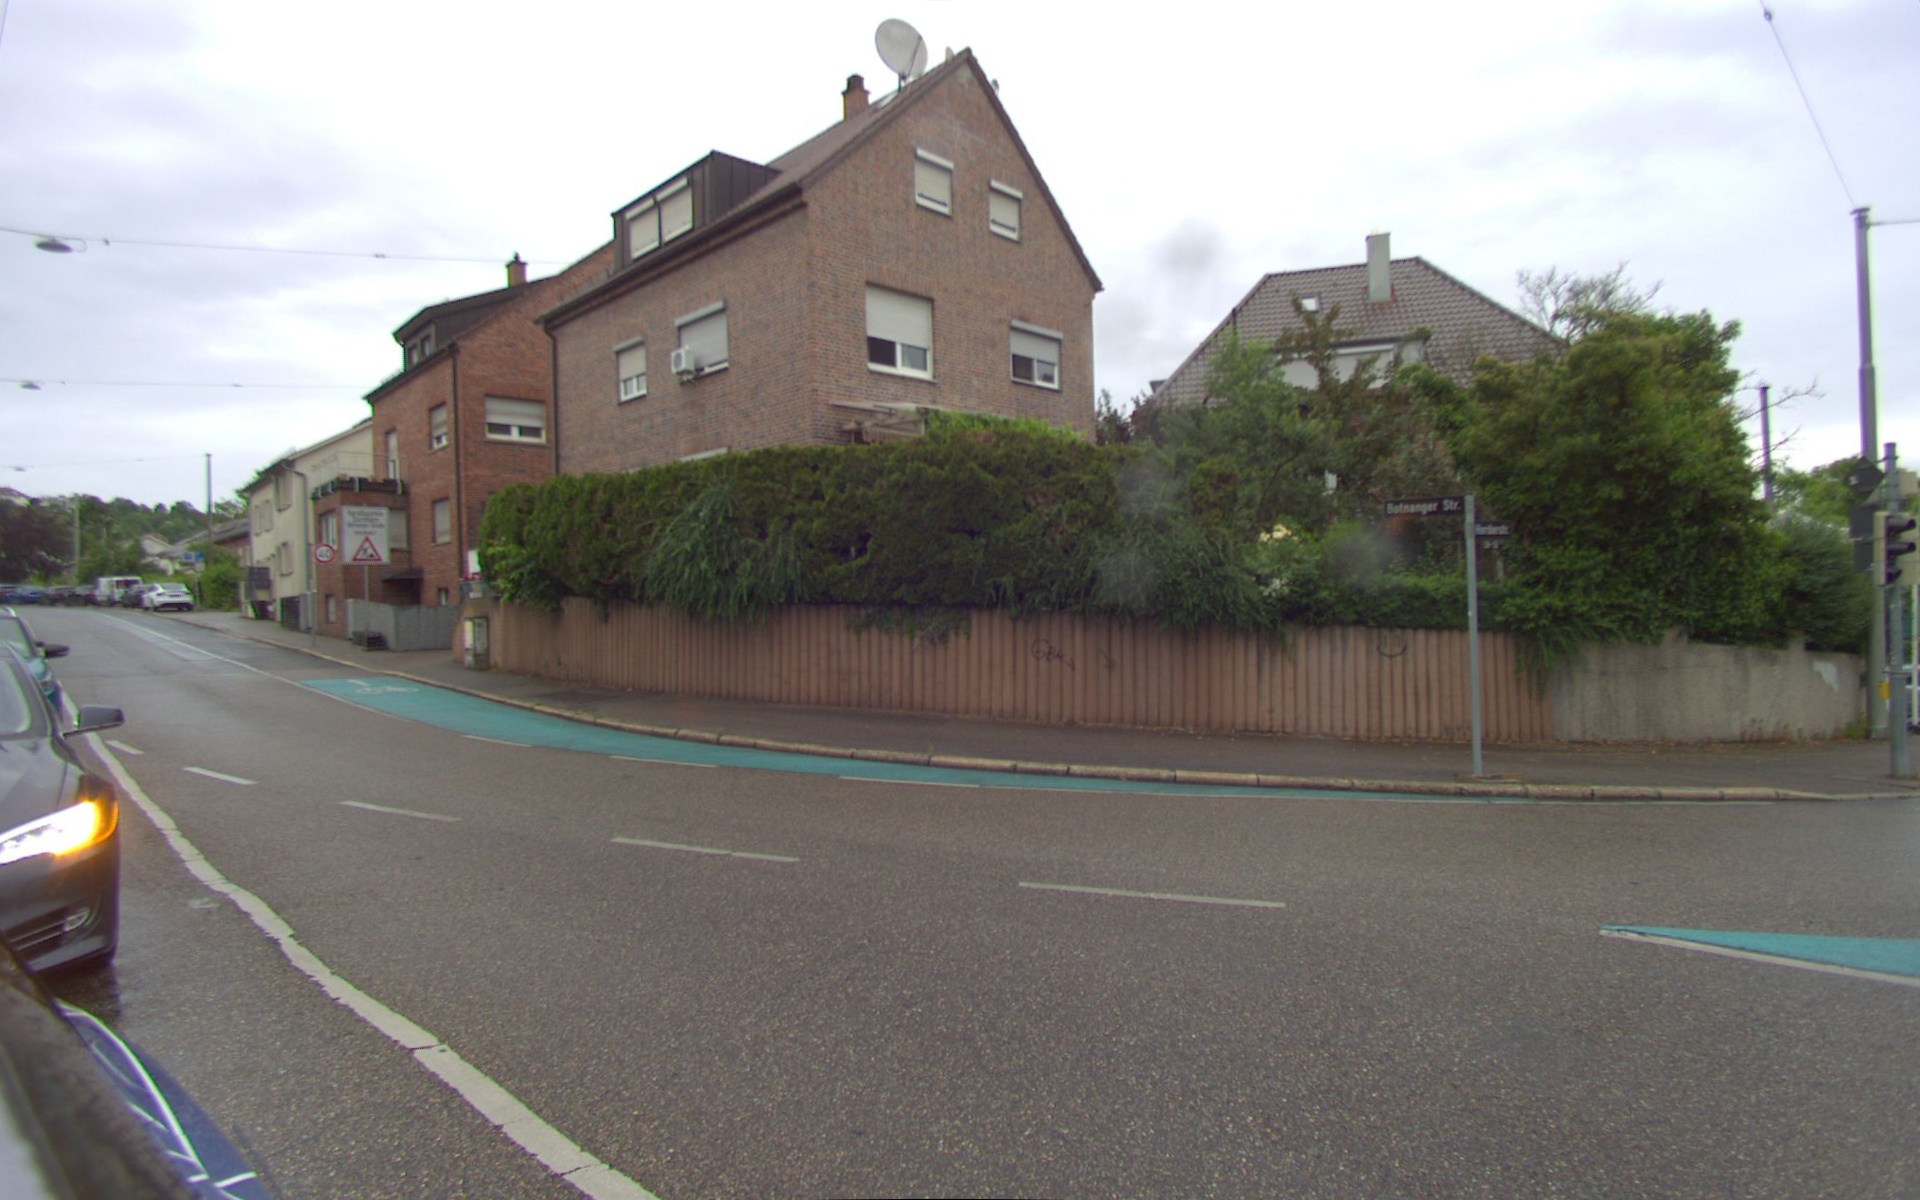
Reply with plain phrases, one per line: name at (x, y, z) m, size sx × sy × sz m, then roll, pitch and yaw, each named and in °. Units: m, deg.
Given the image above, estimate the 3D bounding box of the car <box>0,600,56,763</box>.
car at (-11.137, 0.806, 10.979) m, size 3.785 × 1.601 × 1.765 m, roll 0°, pitch 0°, yaw 45°

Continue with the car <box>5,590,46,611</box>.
car at (-71.363, 0.016, 77.274) m, size 3.895 × 1.501 × 1.605 m, roll -1°, pitch 2°, yaw 36°

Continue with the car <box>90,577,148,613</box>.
car at (-57.016, -0.337, 68.592) m, size 4.544 × 2.303 × 2.229 m, roll 0°, pitch 2°, yaw 41°

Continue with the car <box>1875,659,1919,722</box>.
car at (26.249, 2.365, 26.128) m, size 1.837 × 1.644 × 4.297 m, roll -2°, pitch -3°, yaw 11°

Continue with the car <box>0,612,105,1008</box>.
car at (-5.402, 0.797, 4.708) m, size 4.002 × 1.426 × 1.845 m, roll 0°, pitch 0°, yaw 45°

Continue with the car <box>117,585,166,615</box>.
car at (-52.370, -0.026, 64.734) m, size 4.262 × 1.817 × 1.791 m, roll 0°, pitch 2°, yaw 42°

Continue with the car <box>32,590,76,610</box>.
car at (-66.751, 0.018, 74.515) m, size 3.854 × 1.407 × 1.634 m, roll -1°, pitch 2°, yaw 36°

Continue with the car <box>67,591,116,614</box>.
car at (-61.469, 0.169, 71.611) m, size 4.002 × 1.501 × 1.636 m, roll -1°, pitch 2°, yaw 34°

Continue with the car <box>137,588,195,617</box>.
car at (-46.422, 0.147, 59.140) m, size 4.262 × 1.577 × 1.921 m, roll 0°, pitch 2°, yaw 42°
